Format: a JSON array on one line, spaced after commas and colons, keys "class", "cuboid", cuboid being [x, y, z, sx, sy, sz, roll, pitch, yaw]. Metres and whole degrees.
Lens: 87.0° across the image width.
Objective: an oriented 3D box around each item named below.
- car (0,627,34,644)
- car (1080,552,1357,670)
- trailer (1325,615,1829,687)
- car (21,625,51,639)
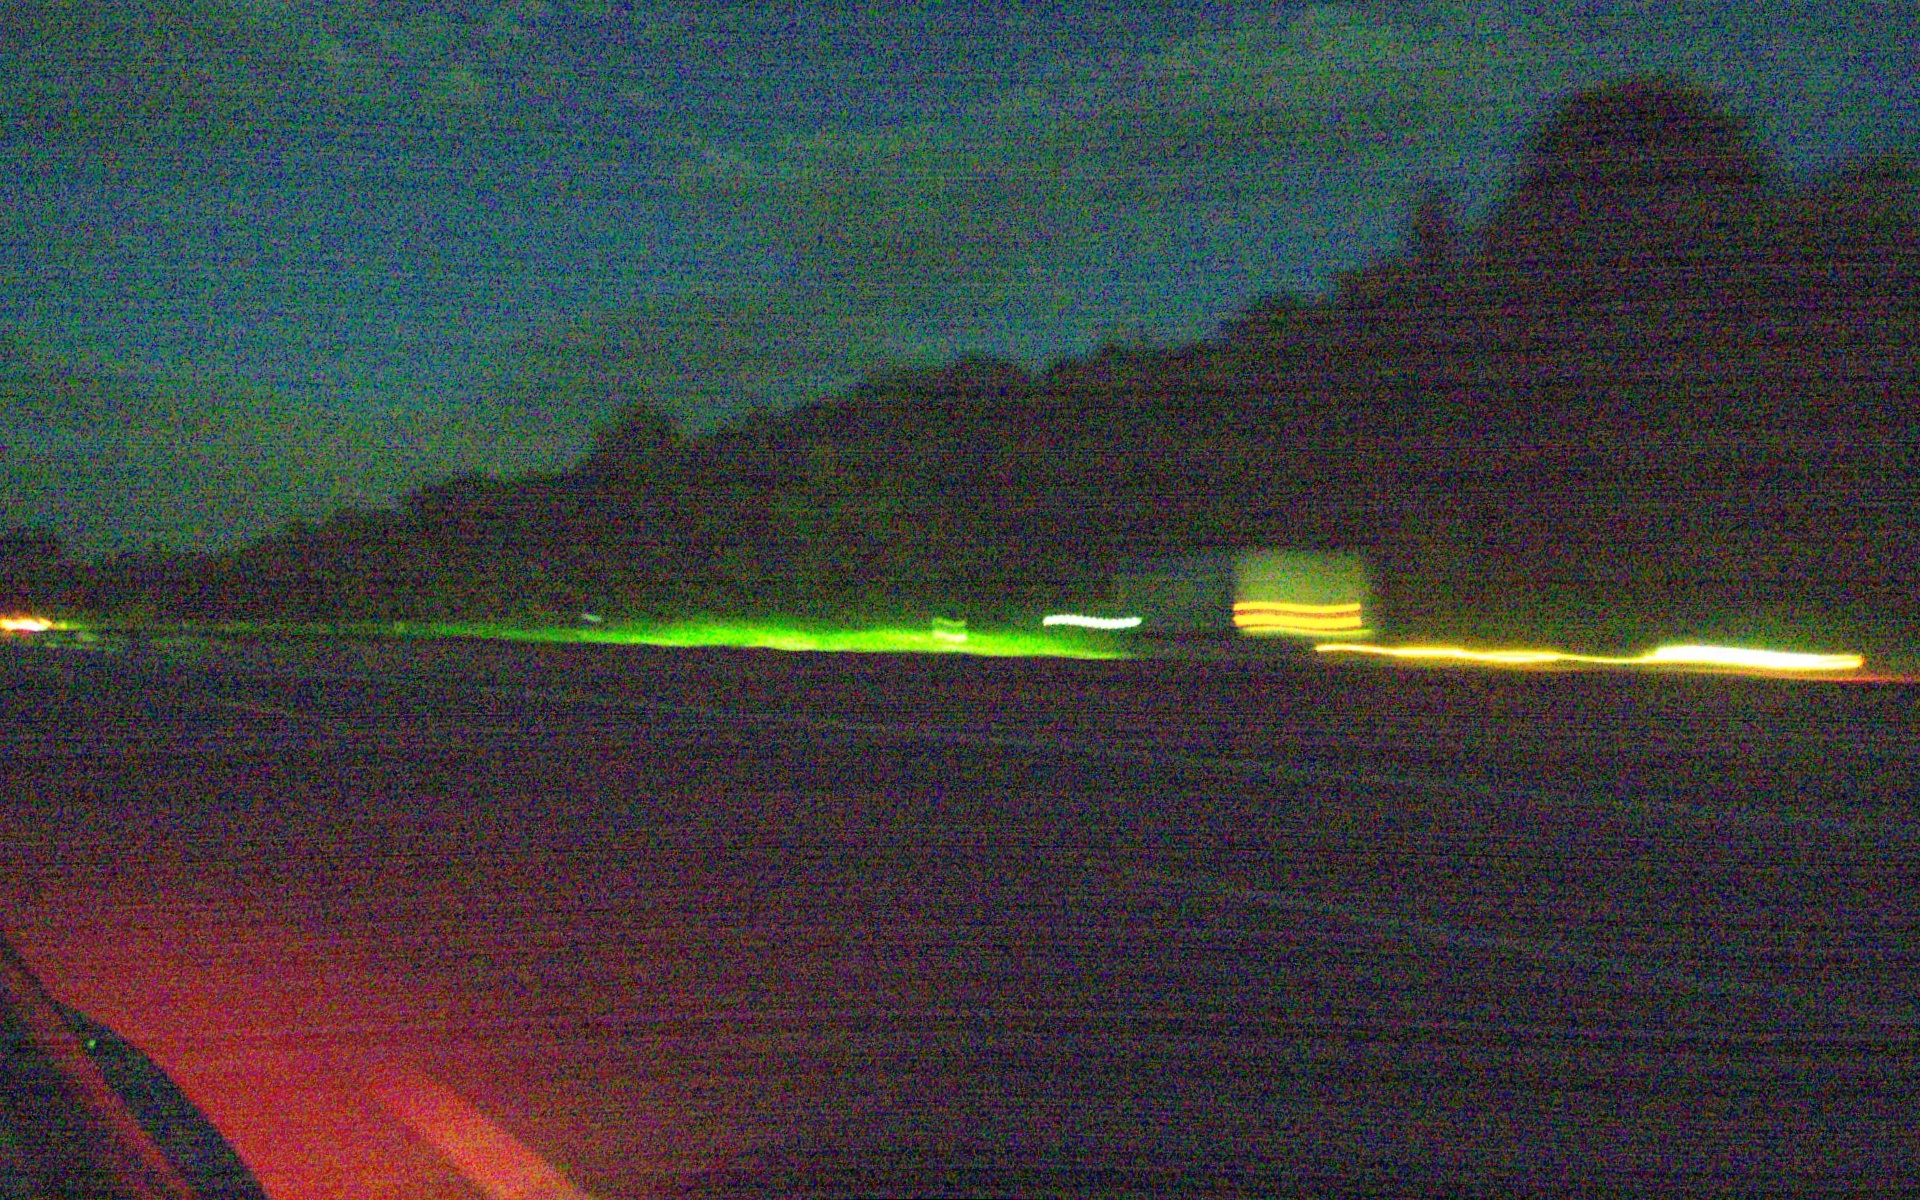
[{"class": "car", "cuboid": [-94.403, 3.530, 101.121, 4.923, 1.491, 1.974, -1, -1, 38]}, {"class": "car", "cuboid": [6.075, 0.264, 24.484, 6.239, 2.506, 2.060, -1, -1, 41]}, {"class": "trailer", "cuboid": [11.511, 0.855, 19.623, 8.074, 1.112, 2.389, -1, -1, 42]}, {"class": "car", "cuboid": [-104.958, 3.636, 114.992, 4.397, 1.519, 1.973, -1, -1, 40]}]
